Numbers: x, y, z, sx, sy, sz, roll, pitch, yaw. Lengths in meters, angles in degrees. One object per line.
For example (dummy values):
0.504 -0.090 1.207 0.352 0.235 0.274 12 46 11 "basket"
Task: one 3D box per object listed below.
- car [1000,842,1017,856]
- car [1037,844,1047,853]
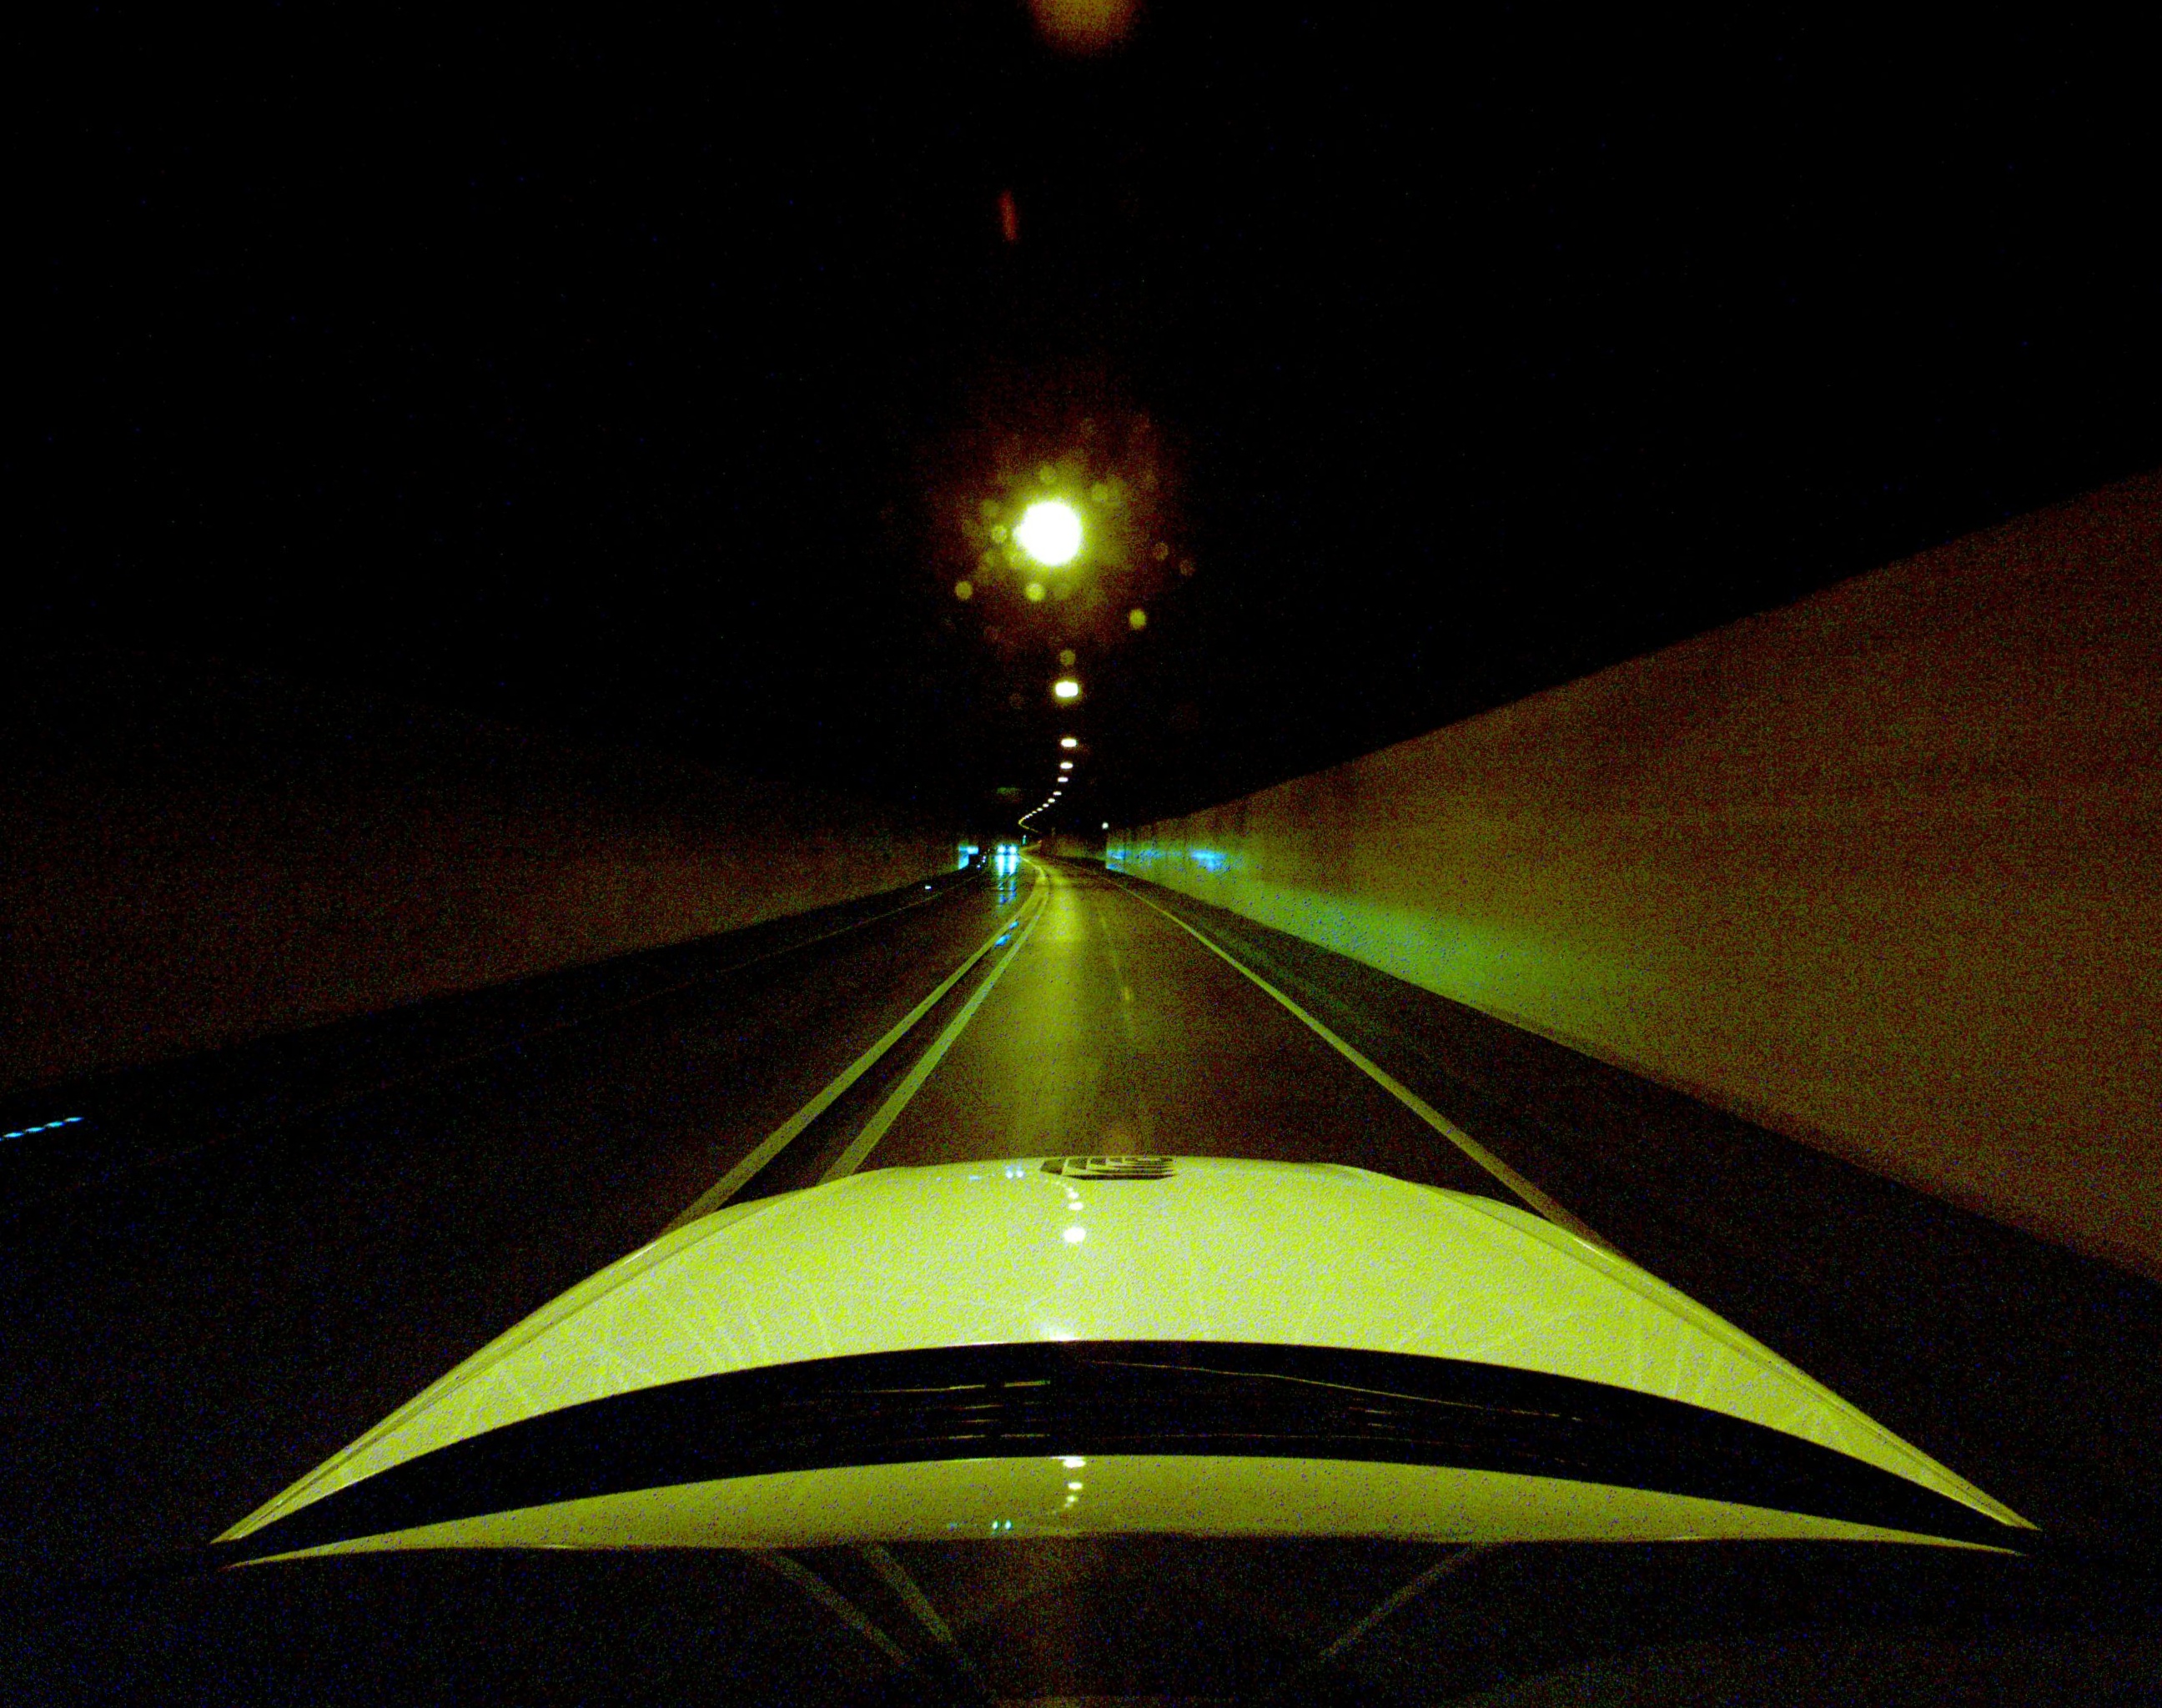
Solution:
-9.021 -0.586 102.103 1.990 1.596 3.993 2 -2 -4 "car"
-6.774 -0.945 141.683 1.593 1.455 3.614 2 -2 -5 "car"
